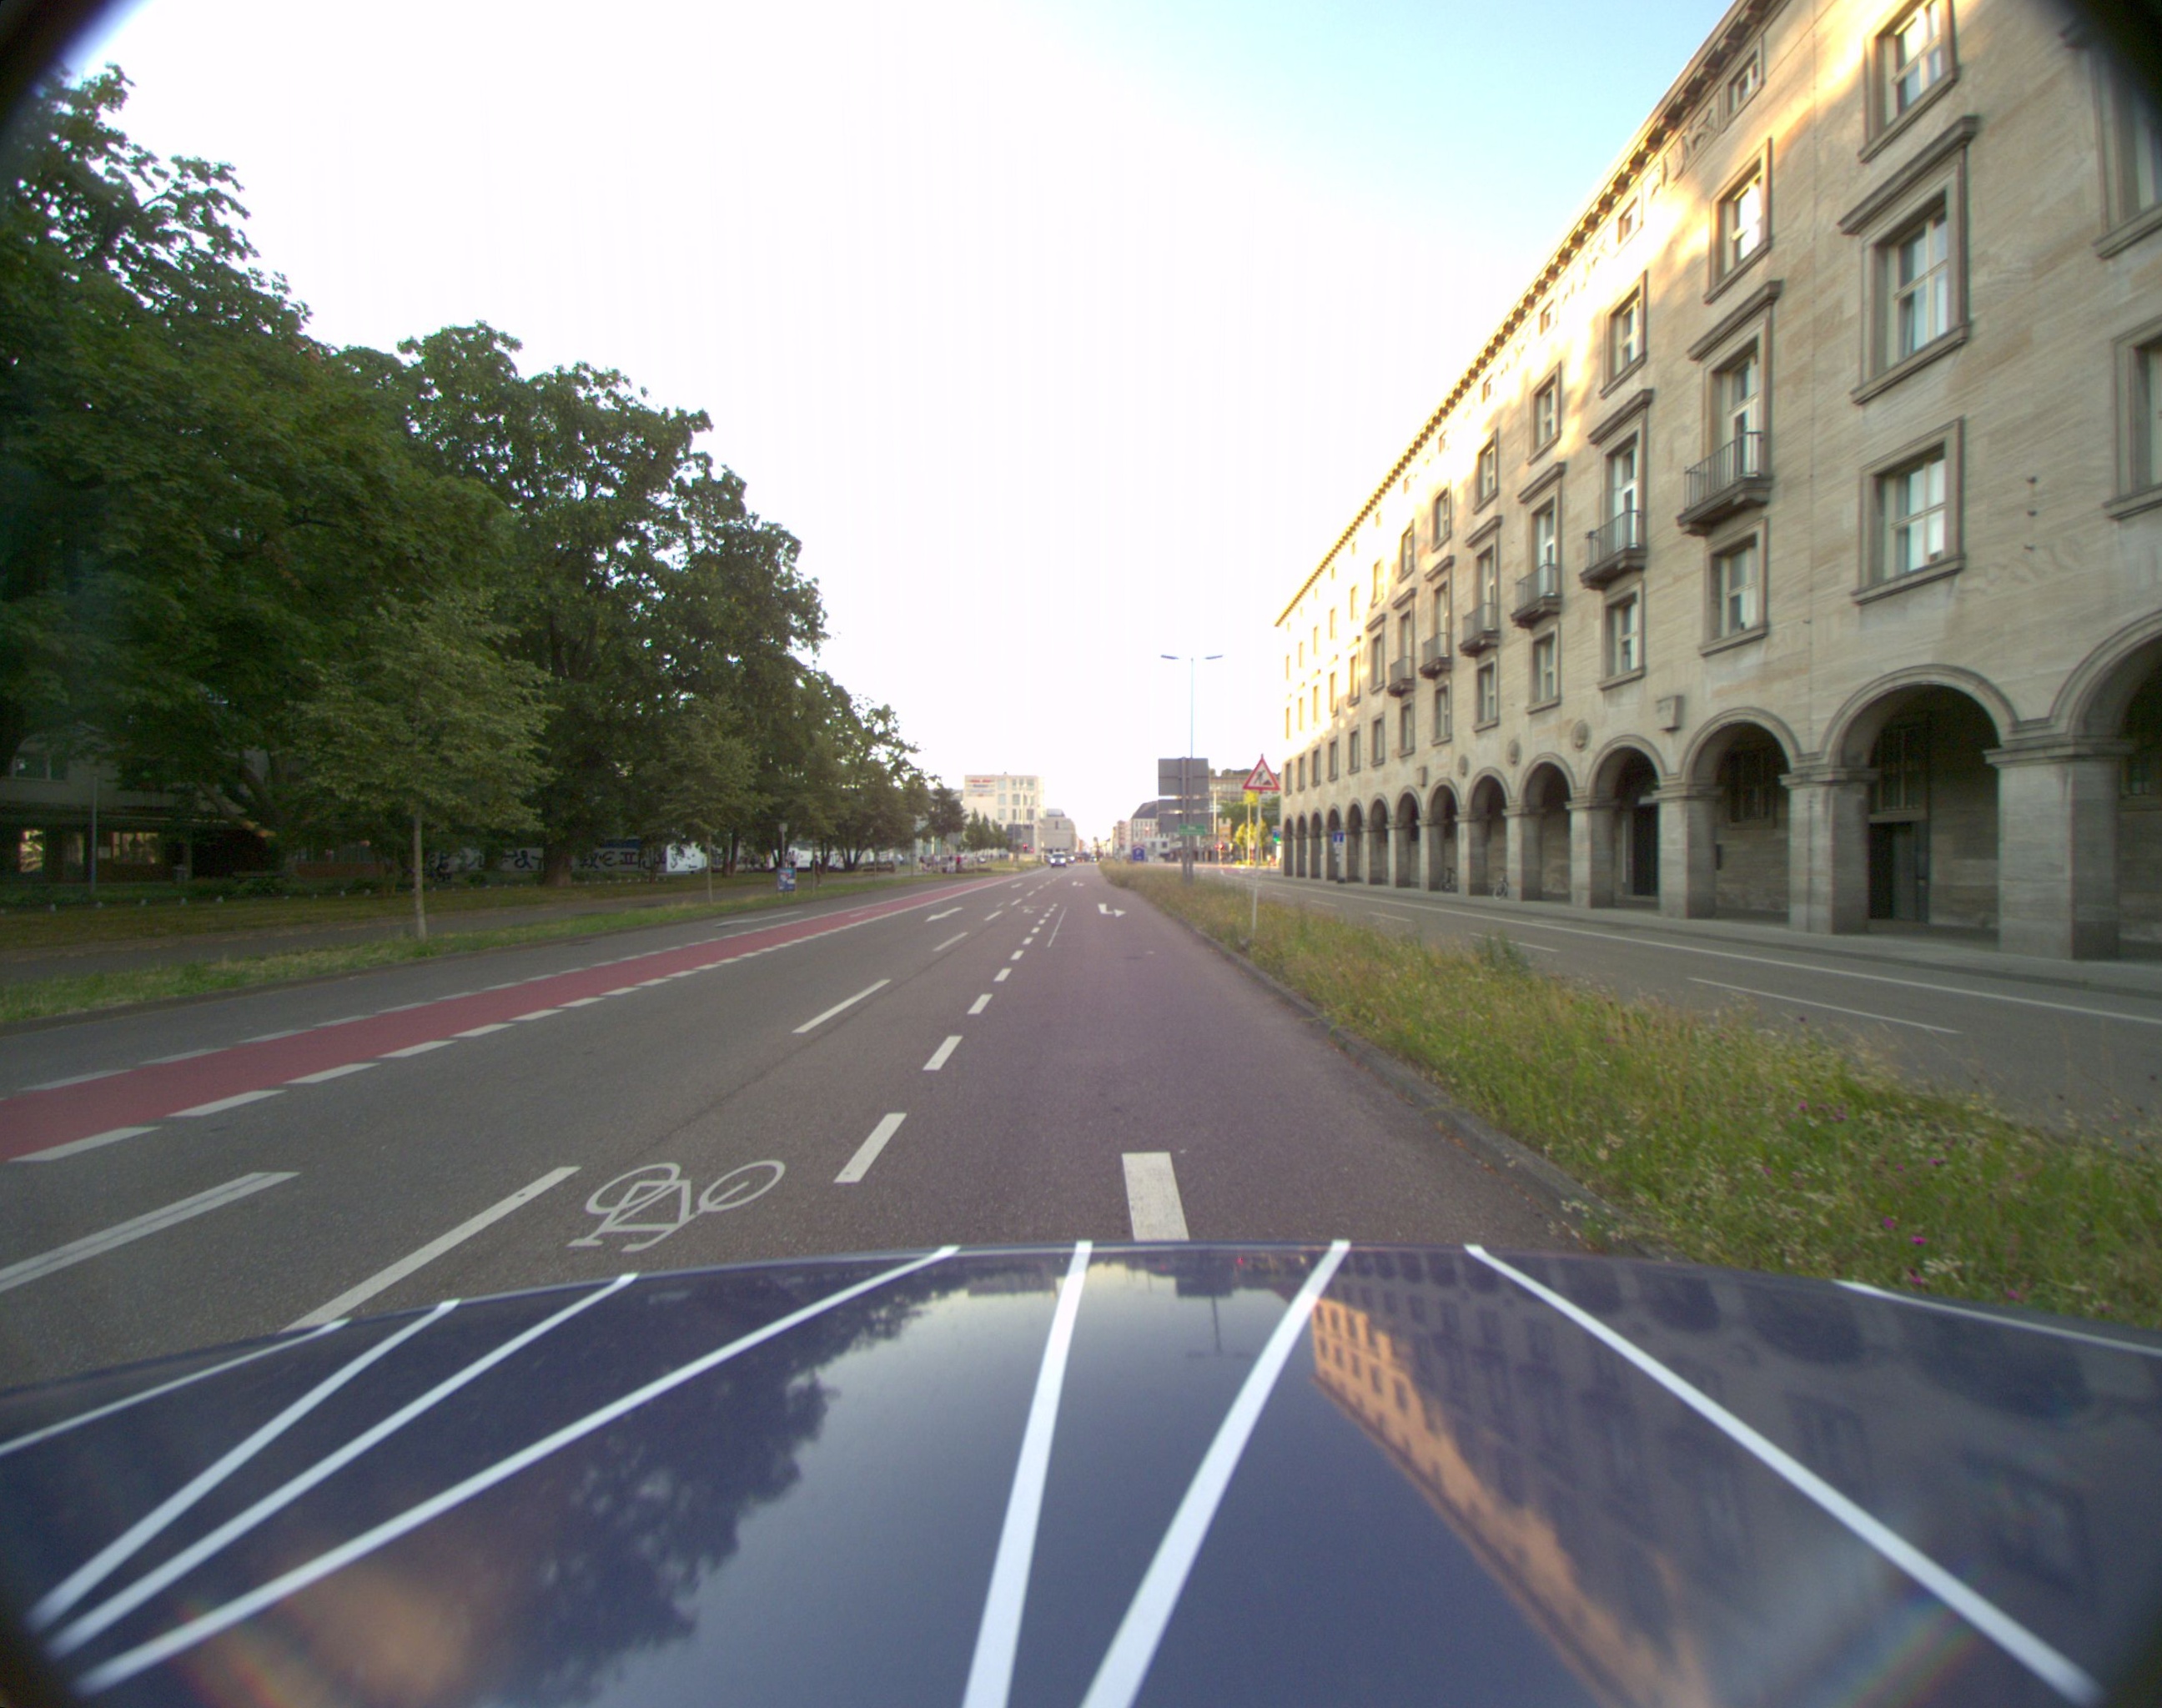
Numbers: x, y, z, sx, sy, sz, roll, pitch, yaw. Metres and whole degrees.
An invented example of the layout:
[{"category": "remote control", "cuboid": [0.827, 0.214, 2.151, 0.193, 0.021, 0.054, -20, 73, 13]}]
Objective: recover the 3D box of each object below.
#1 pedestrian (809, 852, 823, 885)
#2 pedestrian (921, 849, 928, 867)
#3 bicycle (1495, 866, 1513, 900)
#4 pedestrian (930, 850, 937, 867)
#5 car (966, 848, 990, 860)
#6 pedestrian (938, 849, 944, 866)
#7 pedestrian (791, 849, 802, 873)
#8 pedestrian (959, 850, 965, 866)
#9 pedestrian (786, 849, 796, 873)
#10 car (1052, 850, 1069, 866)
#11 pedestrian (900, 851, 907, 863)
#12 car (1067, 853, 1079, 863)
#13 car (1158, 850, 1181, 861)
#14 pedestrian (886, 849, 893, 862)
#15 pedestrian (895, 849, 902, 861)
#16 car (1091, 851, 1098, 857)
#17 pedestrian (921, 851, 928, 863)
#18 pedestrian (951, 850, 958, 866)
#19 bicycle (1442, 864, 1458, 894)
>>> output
[{"category": "pedestrian", "cuboid": [-13.950, 0.767, 40.037, 0.558, 1.729, 0.555, 0, 1, 1]}, {"category": "pedestrian", "cuboid": [-14.772, 0.402, 71.607, 0.509, 1.720, 0.719, 0, 1, 1]}, {"category": "bicycle", "cuboid": [15.366, 1.020, 27.560, 0.513, 1.115, 2.427, 0, 1, 30]}, {"category": "pedestrian", "cuboid": [-14.684, 0.428, 75.773, 0.519, 1.720, 0.719, 0, 1, 1]}, {"category": "car", "cuboid": [-17.736, 0.018, 130.894, 3.999, 2.002, 1.999, 0, 0, -5]}, {"category": "pedestrian", "cuboid": [-13.932, 0.355, 75.649, 0.509, 1.720, 0.719, 0, 1, 1]}, {"category": "pedestrian", "cuboid": [-18.543, 0.468, 49.551, 0.500, 1.592, 0.522, 0, 1, 1]}, {"category": "pedestrian", "cuboid": [-13.605, 0.440, 86.867, 0.638, 1.747, 0.506, 0, 1, 1]}, {"category": "pedestrian", "cuboid": [-19.493, 0.471, 51.060, 0.500, 1.592, 0.365, 0, 1, 1]}, {"category": "car", "cuboid": [-2.557, 0.480, 94.791, 1.767, 1.877, 4.501, 0, 0, 3]}, {"category": "pedestrian", "cuboid": [-20.362, 0.363, 87.096, 0.728, 1.347, 0.614, 0, 1, 1]}, {"category": "car", "cuboid": [-1.235, 0.587, 121.066, 1.826, 1.612, 4.336, 0, 0, 0]}, {"category": "car", "cuboid": [16.180, 0.293, 139.076, 3.998, 2.002, 1.999, 0, 0, -3]}, {"category": "pedestrian", "cuboid": [-21.143, 0.152, 83.957, 0.519, 1.347, 0.773, 0, 1, 1]}, {"category": "pedestrian", "cuboid": [-20.189, 0.105, 84.061, 0.519, 1.347, 0.773, 0, 1, 1]}, {"category": "car", "cuboid": [4.528, 0.015, 259.643, 1.999, 2.297, 5.089, 0, 0, -1]}, {"category": "pedestrian", "cuboid": [-18.165, 0.314, 87.983, 0.662, 1.347, 0.559, 0, 1, 1]}, {"category": "pedestrian", "cuboid": [-14.584, 0.468, 87.499, 0.638, 1.747, 0.506, 0, 1, 1]}, {"category": "bicycle", "cuboid": [15.047, 0.997, 30.994, 0.513, 1.172, 2.427, 0, 0, 25]}]
